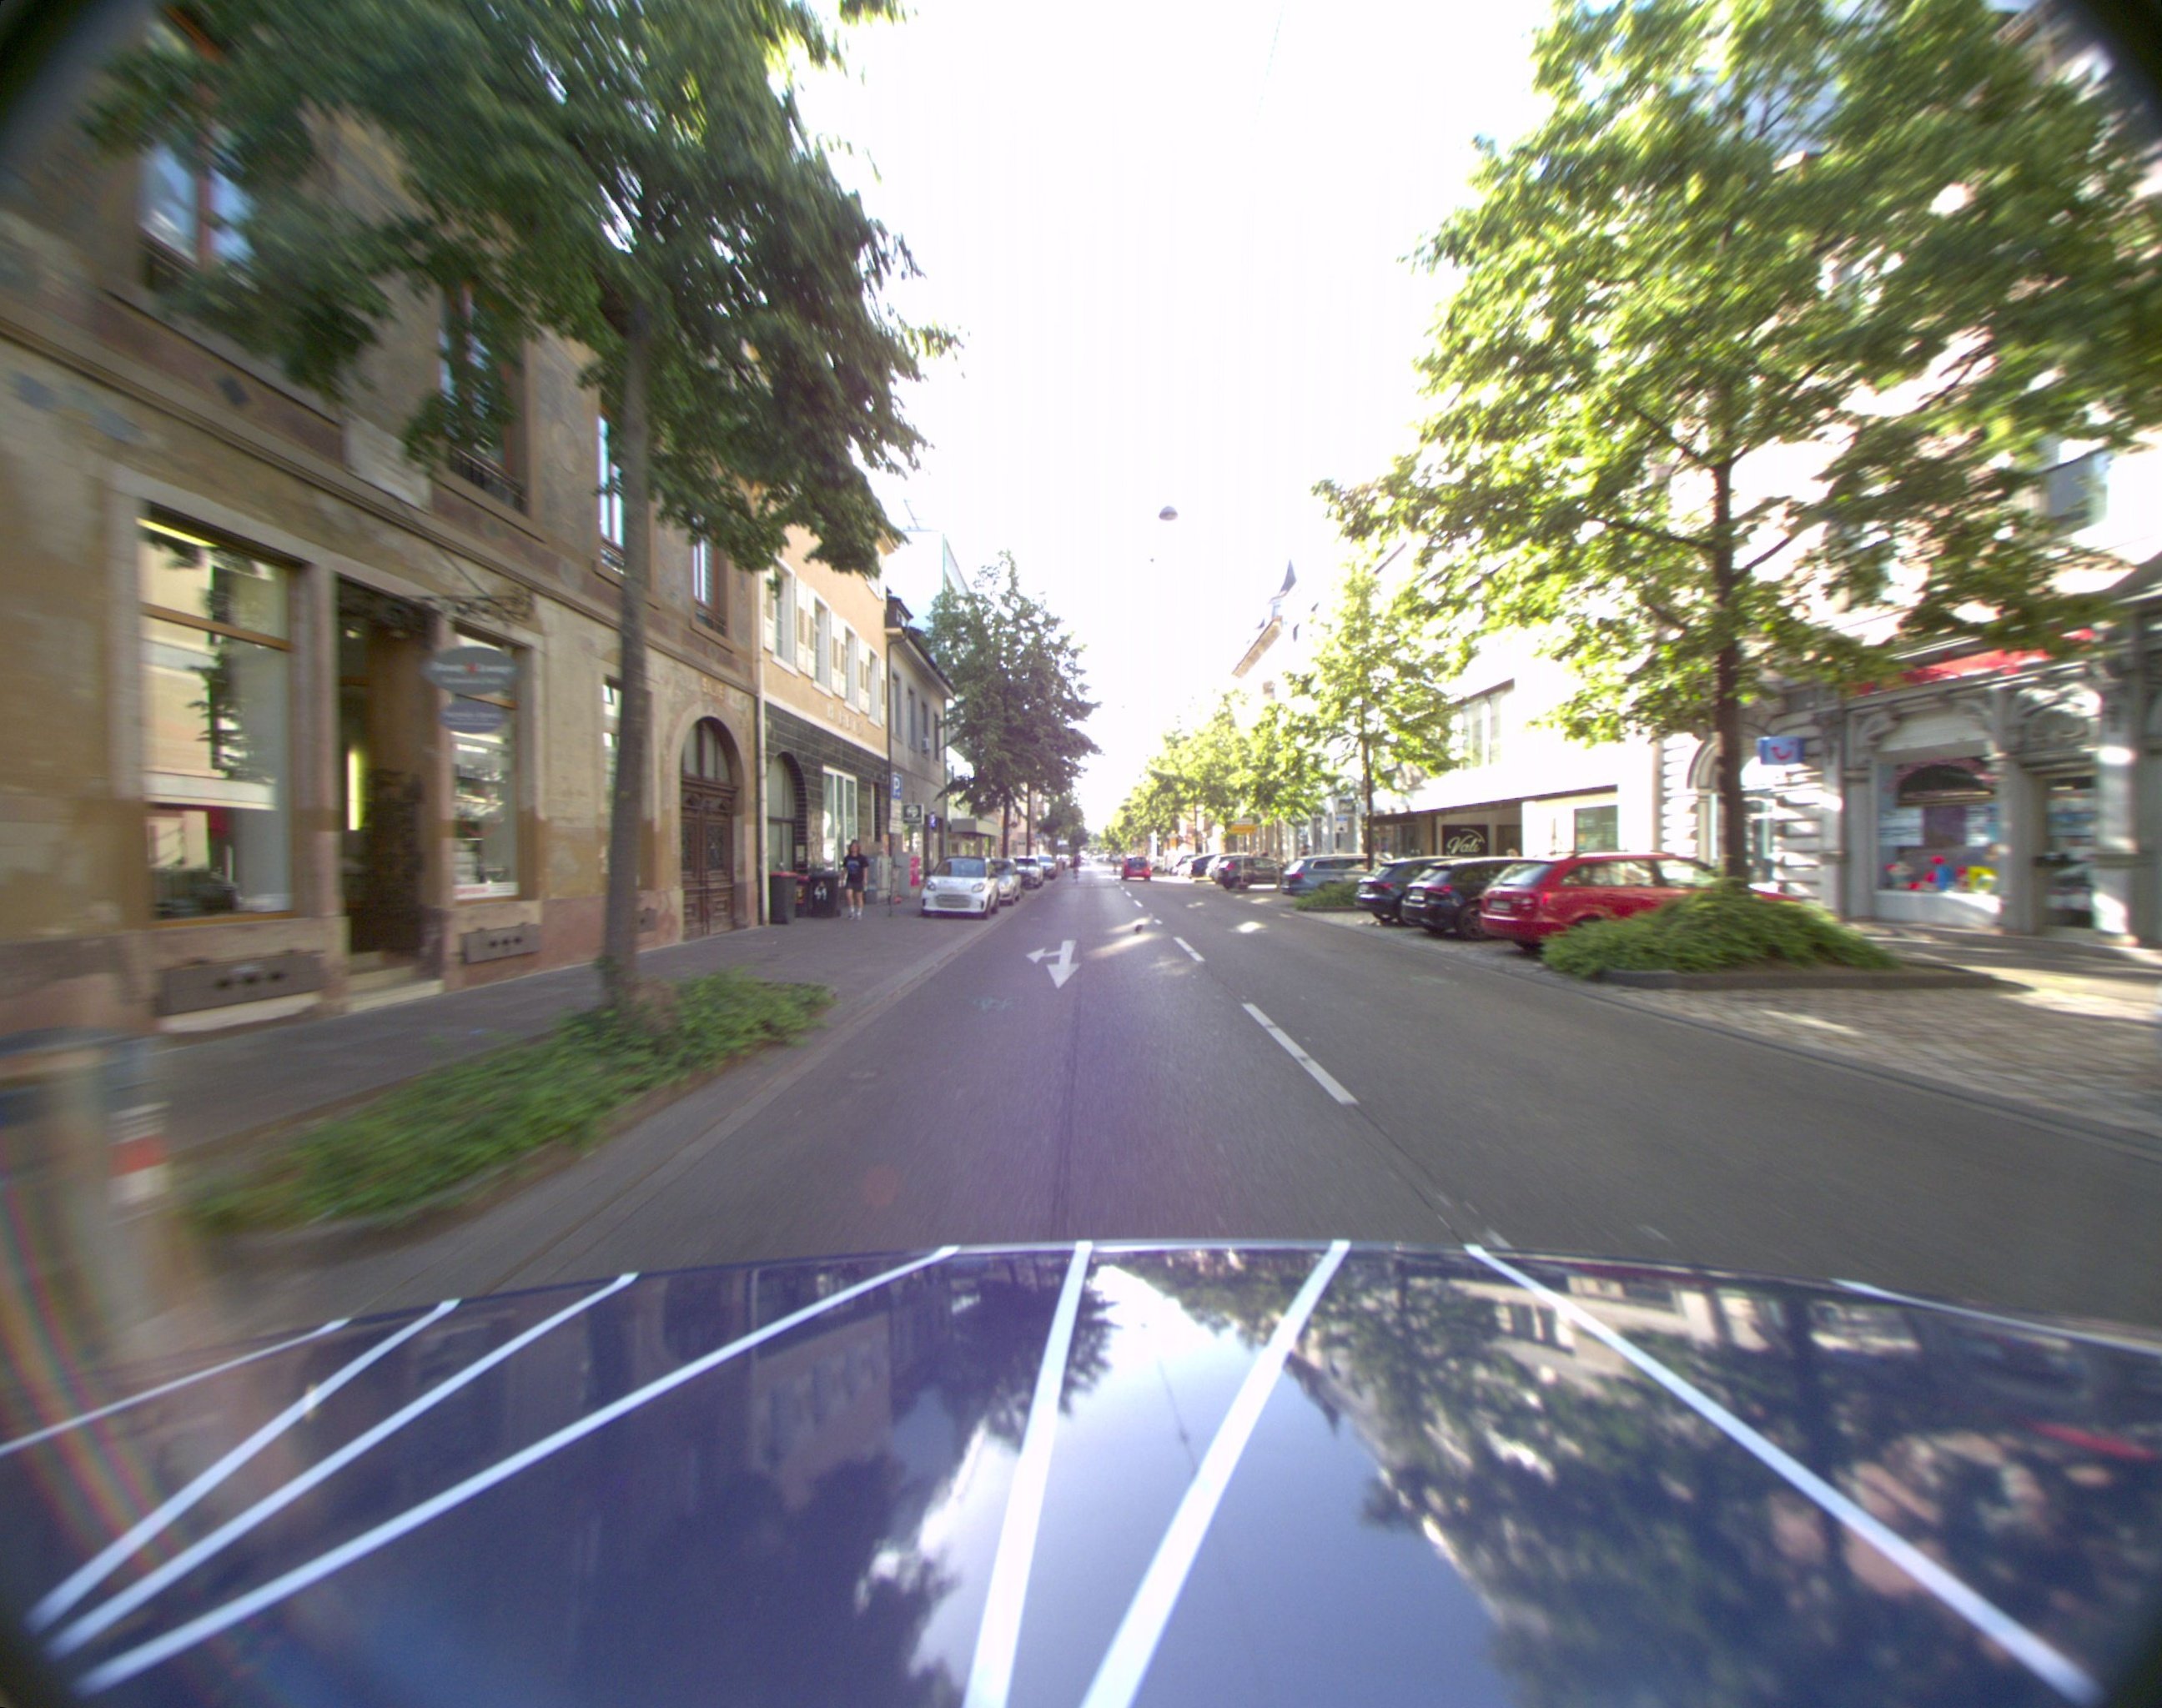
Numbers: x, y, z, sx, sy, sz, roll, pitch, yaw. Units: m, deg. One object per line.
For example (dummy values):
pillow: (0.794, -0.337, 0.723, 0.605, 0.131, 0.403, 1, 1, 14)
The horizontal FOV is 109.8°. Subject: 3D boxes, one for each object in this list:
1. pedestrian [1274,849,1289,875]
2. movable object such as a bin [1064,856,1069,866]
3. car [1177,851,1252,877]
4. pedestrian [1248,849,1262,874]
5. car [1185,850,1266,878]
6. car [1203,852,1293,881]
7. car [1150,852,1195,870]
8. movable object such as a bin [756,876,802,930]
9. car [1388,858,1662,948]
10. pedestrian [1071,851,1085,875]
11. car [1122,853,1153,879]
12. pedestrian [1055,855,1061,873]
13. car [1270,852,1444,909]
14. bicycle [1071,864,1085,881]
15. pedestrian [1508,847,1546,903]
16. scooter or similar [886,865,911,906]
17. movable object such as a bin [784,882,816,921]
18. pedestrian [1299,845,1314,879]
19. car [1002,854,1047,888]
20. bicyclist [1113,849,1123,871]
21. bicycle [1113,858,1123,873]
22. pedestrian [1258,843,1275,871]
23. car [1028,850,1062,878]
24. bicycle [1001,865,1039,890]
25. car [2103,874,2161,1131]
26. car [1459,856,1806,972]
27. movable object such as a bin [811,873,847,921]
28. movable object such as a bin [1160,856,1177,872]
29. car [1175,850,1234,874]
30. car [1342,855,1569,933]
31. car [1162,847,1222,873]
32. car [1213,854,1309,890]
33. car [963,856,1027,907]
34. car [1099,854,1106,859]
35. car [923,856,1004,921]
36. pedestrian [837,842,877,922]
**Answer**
pedestrian: (11.790, 0.487, 44.692, 0.594, 1.485, 0.842, -3, 0, 2)
movable object such as a bin: (-1.699, 0.802, 88.853, 0.634, 1.062, 0.602, 1, 2, 2)
car: (8.304, 0.607, 47.461, 4.377, 1.561, 1.946, -1, 0, 1)
pedestrian: (11.545, 0.514, 50.425, 0.566, 1.617, 0.727, -5, 1, -1)
car: (8.497, 0.574, 44.959, 4.377, 1.561, 1.980, -1, 0, 1)
car: (8.828, 0.634, 40.363, 4.257, 1.450, 1.980, -1, 0, -3)
car: (8.273, 0.634, 69.088, 3.788, 1.455, 1.710, -2, 0, -2)
movable object such as a bin: (-6.135, 0.979, 15.465, 0.590, 1.034, 0.722, 2, 1, 2)
car: (7.793, 0.837, 13.637, 3.850, 1.420, 1.790, -1, 0, 2)
pedestrian: (-0.183, 0.537, 44.631, 0.804, 1.381, 0.931, -2, 0, -1)
car: (3.465, 0.702, 46.847, 1.662, 1.526, 3.760, 1, 0, 1)
pedestrian: (-1.985, 0.895, 65.324, 0.474, 1.520, 0.462, -1, 1, 1)
car: (8.139, 0.751, 22.653, 4.505, 1.450, 1.790, -2, 0, -2)
bicycle: (-0.168, 1.053, 44.606, 0.805, 0.958, 1.996, -2, 0, 0)
pedestrian: (11.598, 0.535, 19.779, 0.509, 1.400, 0.825, -2, 0, 5)
scooter or similar: (-5.423, 0.918, 22.635, 0.400, 1.180, 1.168, 2, 0, 2)
movable object such as a bin: (-6.283, 1.059, 17.011, 0.512, 0.855, 0.479, 0, 1, 2)
pedestrian: (11.993, 0.431, 40.459, 0.700, 1.787, 0.746, -1, 0, 12)
car: (-2.732, 0.787, 37.614, 1.888, 1.518, 4.234, 2, 0, 0)
bicyclist: (2.940, 0.482, 60.899, 0.727, 1.690, 1.282, -1, 0, 1)
bicycle: (2.945, 0.900, 60.997, 0.727, 1.162, 2.197, -1, 0, 1)
pedestrian: (12.291, 0.182, 50.448, 0.776, 1.756, 0.763, -5, 1, -1)
car: (-2.366, 0.646, 51.263, 1.998, 1.680, 4.516, 3, 0, 0)
bicycle: (-2.764, 1.085, 34.751, 1.626, 1.007, 0.611, 4, 0, -1)
car: (8.255, 0.813, 3.634, 4.212, 1.459, 1.740, -1, 0, 3)
car: (7.812, 0.809, 11.032, 3.757, 1.459, 1.739, -1, 0, 0)
movable object such as a bin: (-5.703, 0.963, 17.212, 0.523, 1.034, 0.722, 2, 1, 2)
movable object such as a bin: (7.188, 0.793, 62.360, 1.240, 1.295, 0.870, -1, 0, 0)
car: (8.445, 0.550, 52.123, 3.809, 1.549, 1.792, -1, 0, 1)
car: (7.815, 0.809, 16.142, 3.928, 1.477, 1.771, -1, 0, 2)
car: (8.200, 0.425, 56.436, 4.115, 1.825, 2.039, -2, 0, 1)
car: (7.889, 0.768, 33.532, 3.790, 1.450, 1.780, -1, 0, -3)
car: (-2.803, 0.851, 25.556, 1.618, 1.520, 4.234, 3, 0, 0)
car: (5.728, 0.612, 200.089, 1.835, 1.410, 3.833, 0, 0, 1)
car: (-2.985, 0.826, 19.795, 1.618, 1.520, 3.060, 1, 0, 0)
pedestrian: (-5.032, 0.620, 17.105, 0.624, 1.755, 0.771, 2, 1, 2)
